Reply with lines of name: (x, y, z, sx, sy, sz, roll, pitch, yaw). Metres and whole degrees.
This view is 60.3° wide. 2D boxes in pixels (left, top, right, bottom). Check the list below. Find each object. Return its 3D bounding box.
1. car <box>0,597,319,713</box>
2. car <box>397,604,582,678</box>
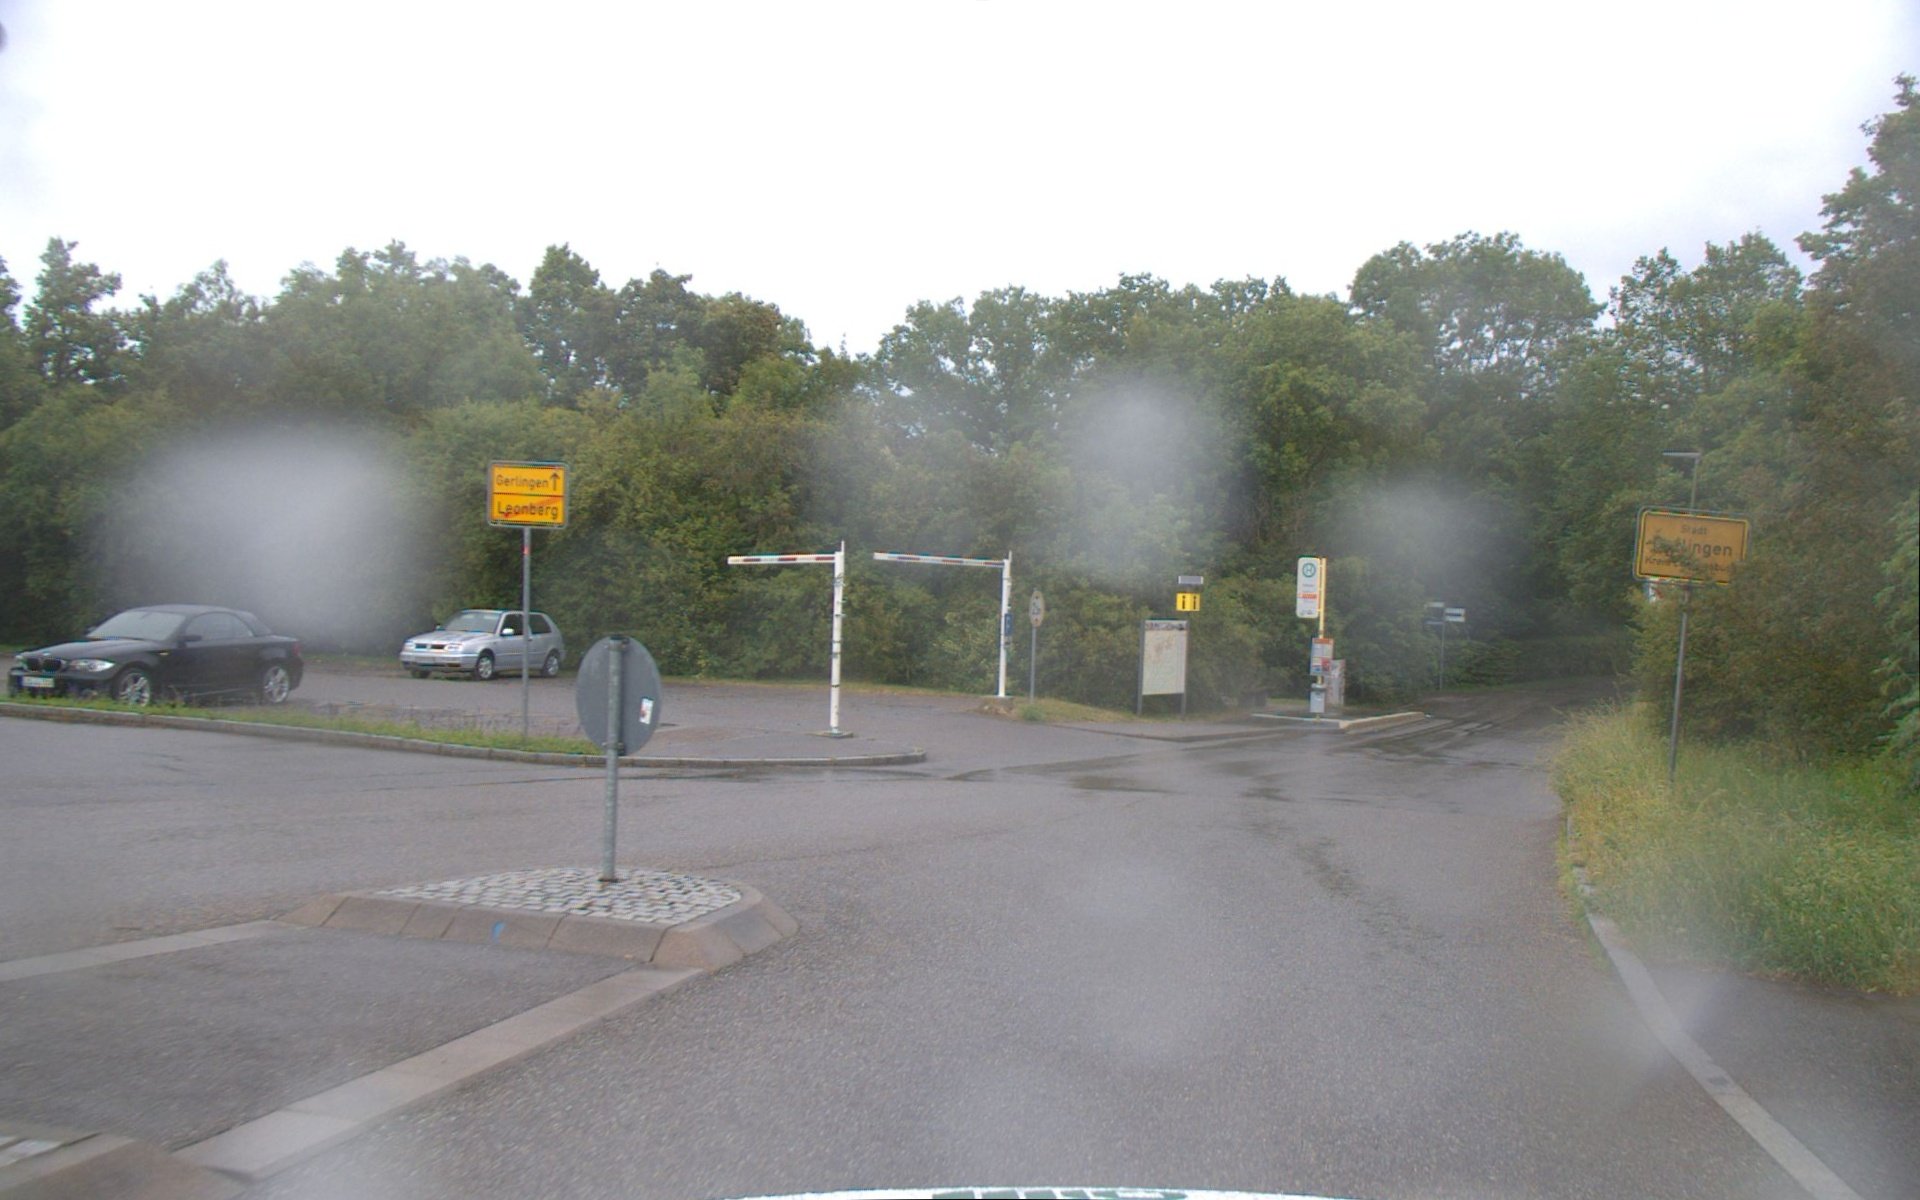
car: (-10.825, 0.772, 22.595, 1.586, 1.379, 4.191, 2, -2, 16)
car: (-9.625, 0.837, 34.186, 1.568, 1.379, 4.123, 2, -1, 19)
